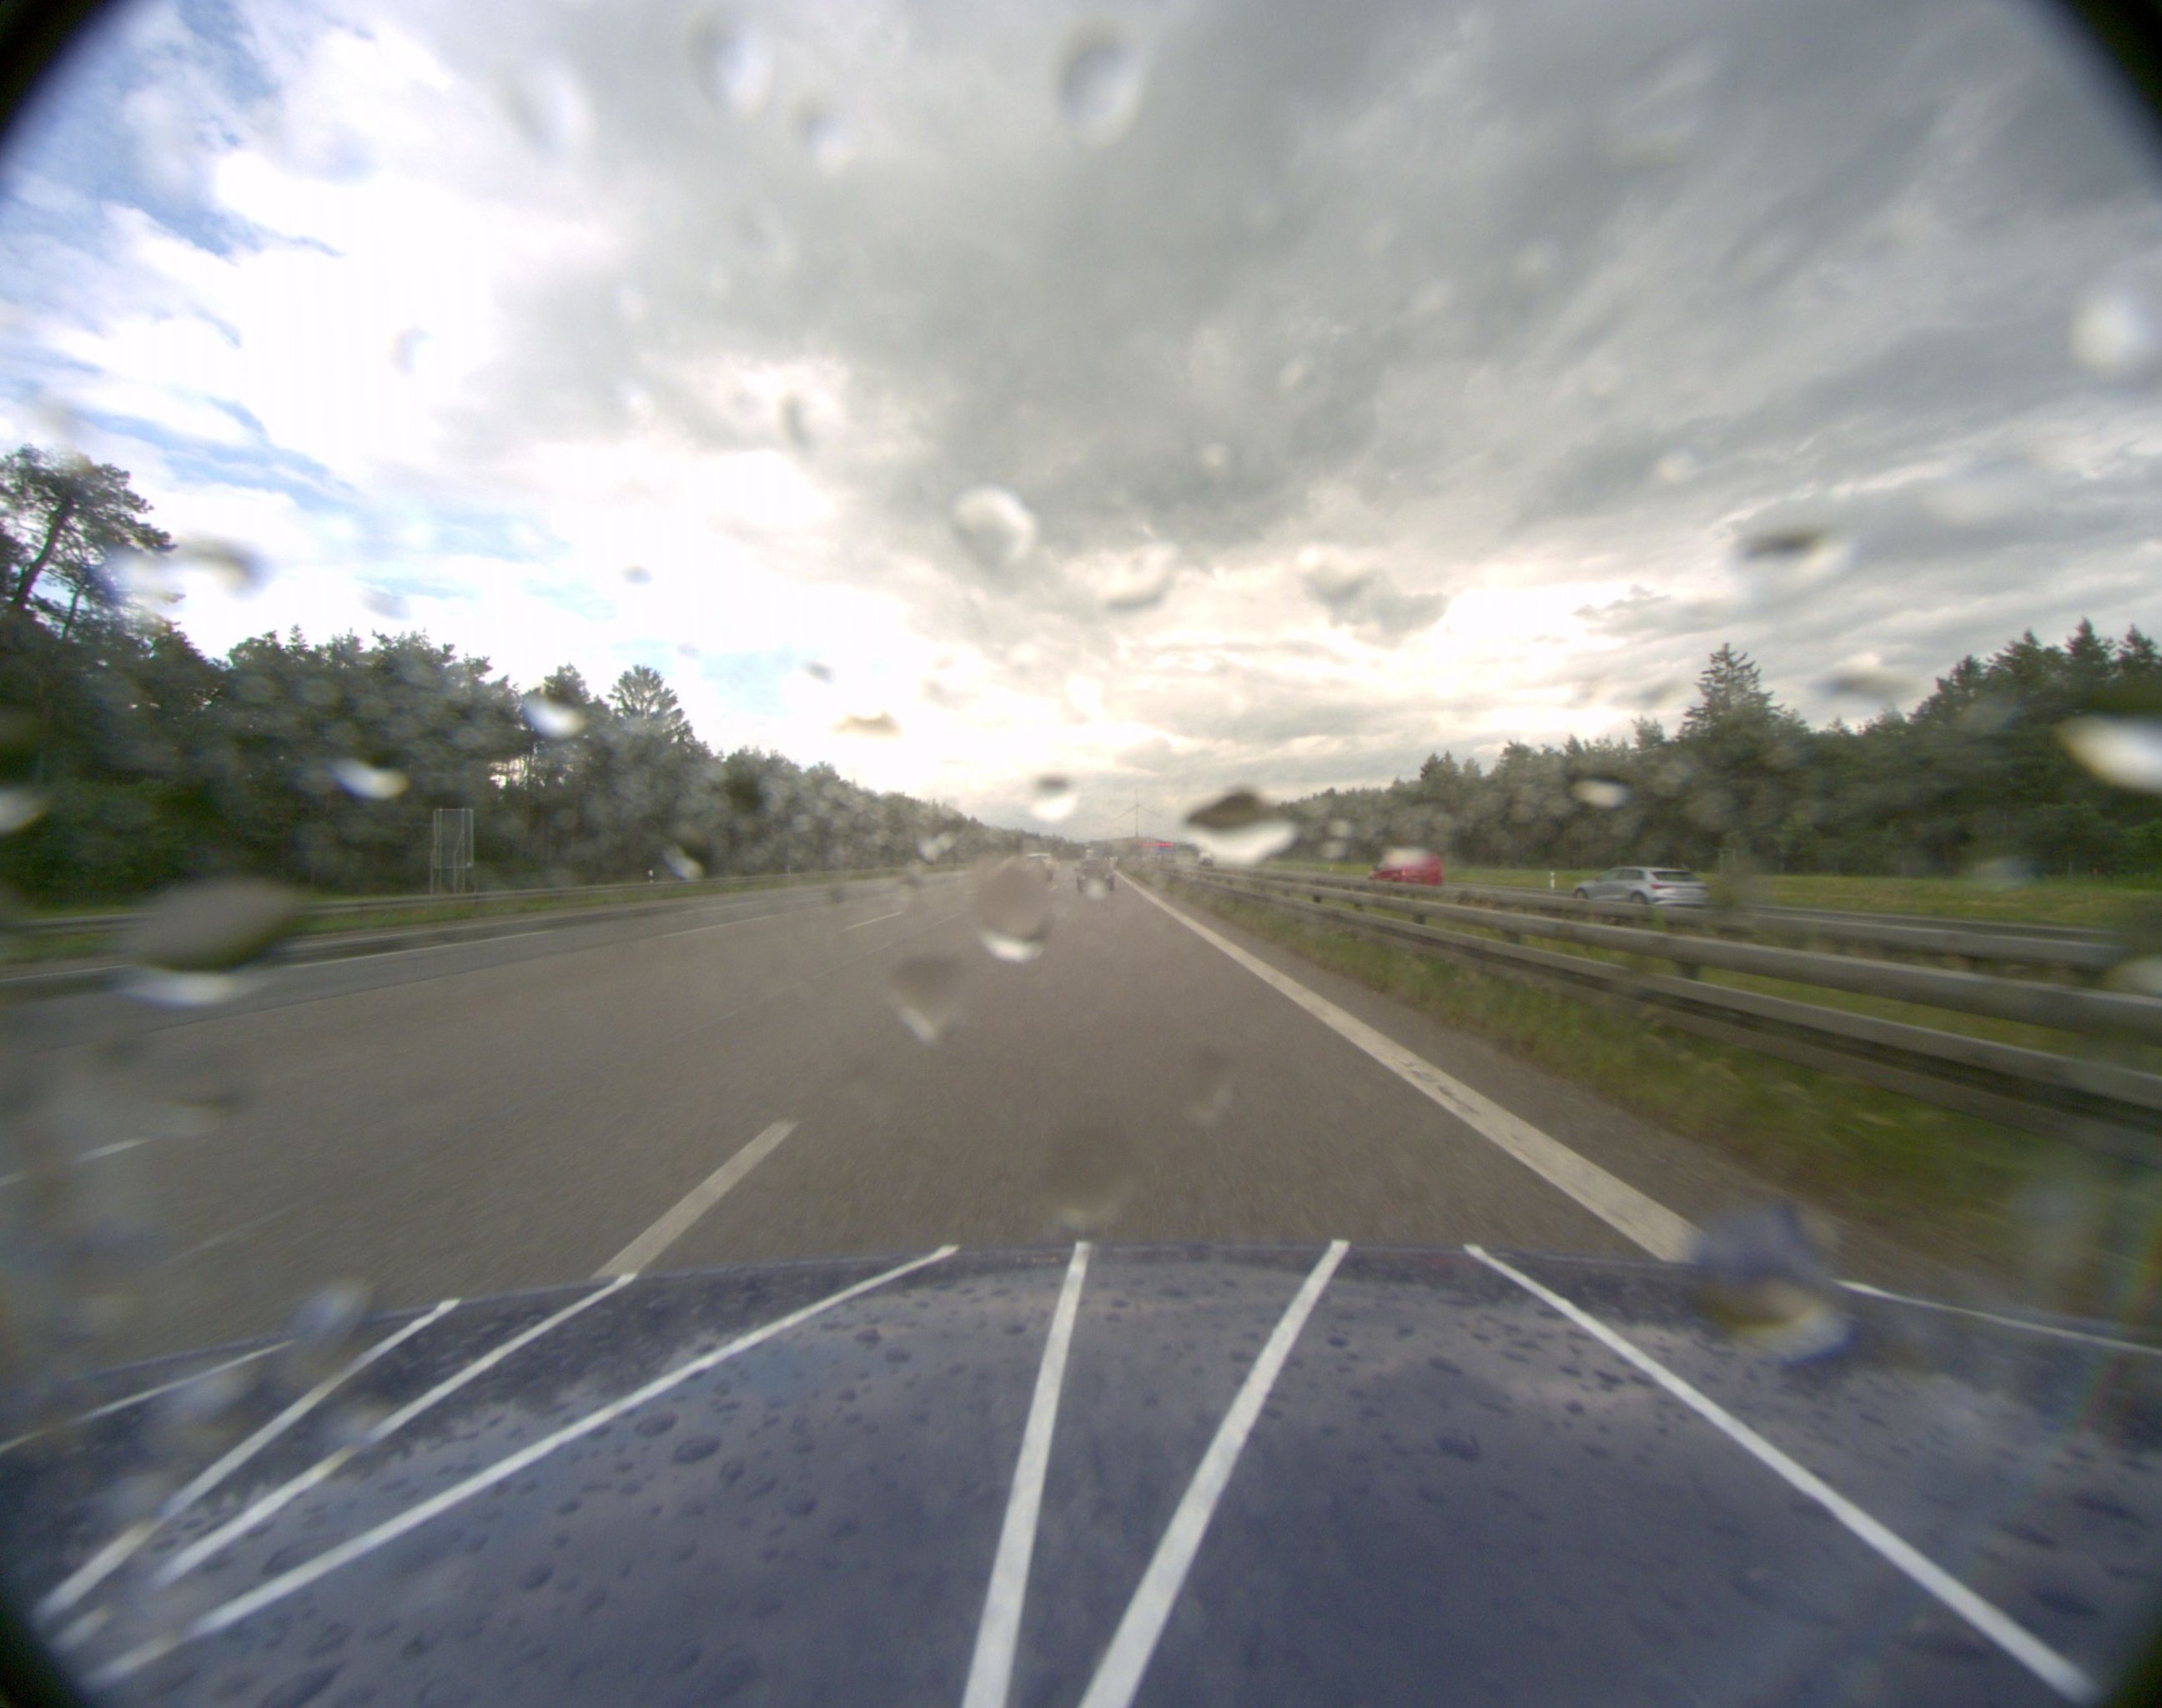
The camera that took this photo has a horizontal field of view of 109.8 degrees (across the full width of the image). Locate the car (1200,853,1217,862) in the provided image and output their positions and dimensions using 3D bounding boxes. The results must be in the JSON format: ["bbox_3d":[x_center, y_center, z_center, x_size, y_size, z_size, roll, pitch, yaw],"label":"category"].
[{"bbox_3d":[20.200,0.526,120.586,1.879,1.463,3.999,0,0,0],"label":"car"}]

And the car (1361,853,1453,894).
[{"bbox_3d":[13.805,0.769,32.491,1.998,1.600,4.608,-1,0,1],"label":"car"}]

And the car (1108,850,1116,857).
[{"bbox_3d":[9.754,-0.065,239.693,2.179,2.002,4.362,-2,0,1],"label":"car"}]

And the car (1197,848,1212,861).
[{"bbox_3d":[25.512,0.071,157.457,2.103,2.496,6.584,1,0,2],"label":"car"}]

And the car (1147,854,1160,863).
[{"bbox_3d":[12.944,0.787,135.835,1.879,1.423,3.999,0,0,0],"label":"car"}]

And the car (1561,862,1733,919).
[{"bbox_3d":[17.539,1.059,23.891,1.998,1.492,4.608,1,0,1],"label":"car"}]

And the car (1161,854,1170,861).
[{"bbox_3d":[18.637,0.749,168.156,1.702,1.317,4.668,1,0,2],"label":"car"}]

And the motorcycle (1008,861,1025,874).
[{"bbox_3d":[-5.357,1.145,63.195,1.002,1.025,2.174,-1,0,5],"label":"motorcycle"}]

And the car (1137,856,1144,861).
[{"bbox_3d":[17.463,1.259,222.074,1.775,1.530,4.000,0,0,2],"label":"car"}]

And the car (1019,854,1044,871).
[{"bbox_3d":[-6.113,1.012,94.954,1.997,2.002,5.486,-2,0,7],"label":"car"}]

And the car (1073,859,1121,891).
[{"bbox_3d":[0.798,0.925,34.945,1.809,1.321,4.433,-1,0,6],"label":"car"}]

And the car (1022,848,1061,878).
[{"bbox_3d":[-2.650,0.602,51.854,1.968,1.890,4.883,-1,0,5],"label":"car"}]

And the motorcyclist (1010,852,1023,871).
[{"bbox_3d":[-5.379,0.616,63.124,0.893,1.605,0.959,-1,0,5],"label":"motorcyclist"}]

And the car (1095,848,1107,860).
[{"bbox_3d":[3.432,0.011,131.231,1.998,2.002,4.000,-2,0,0],"label":"car"}]
